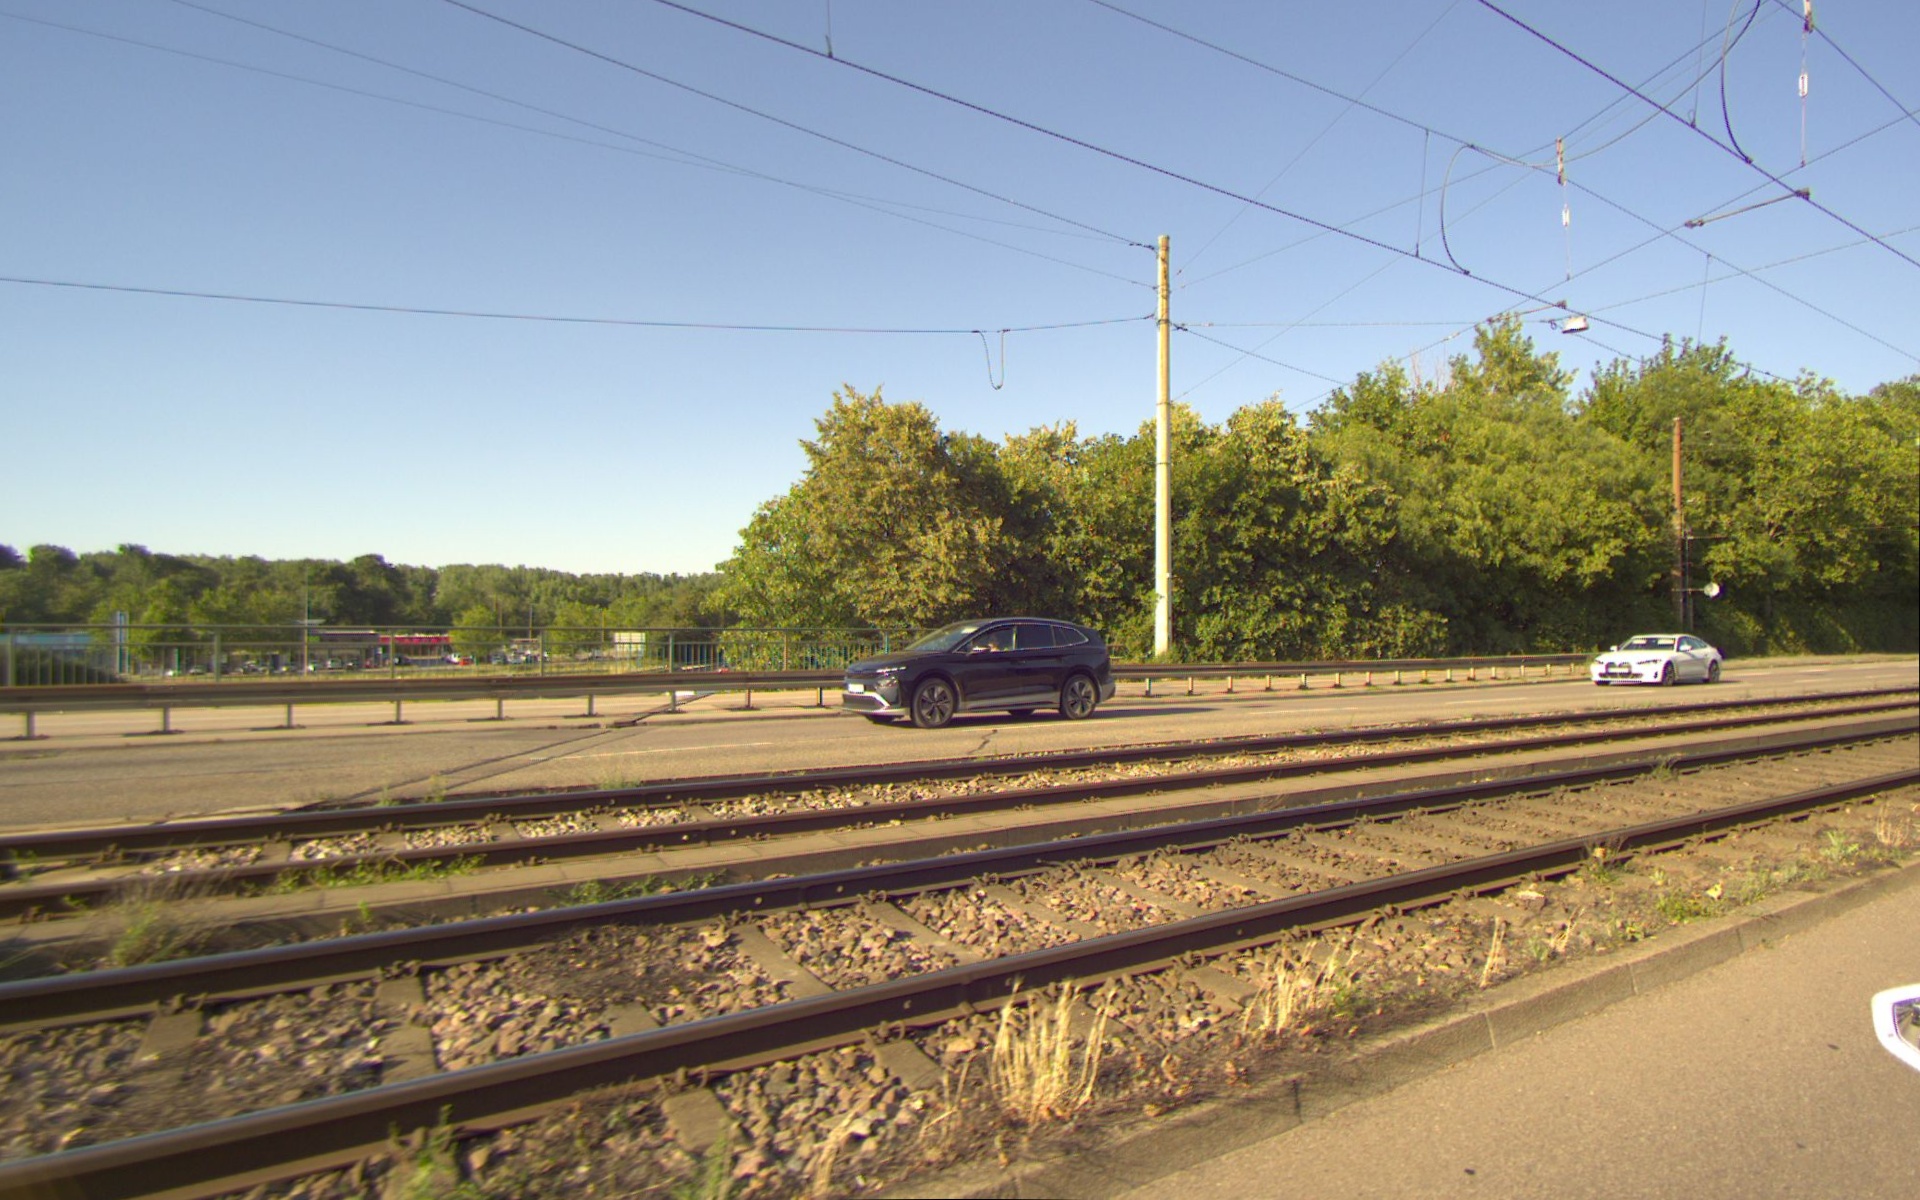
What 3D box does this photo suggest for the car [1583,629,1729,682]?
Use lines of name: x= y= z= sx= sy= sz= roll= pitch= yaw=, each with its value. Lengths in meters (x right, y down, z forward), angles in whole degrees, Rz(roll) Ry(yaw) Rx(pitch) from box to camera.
car: x=20.022 y=1.587 z=28.849 sx=4.826 sy=1.432 sz=1.745 roll=2 pitch=-4 yaw=-33

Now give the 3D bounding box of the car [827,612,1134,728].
car: x=0.420 y=1.051 z=15.914 sx=4.749 sy=1.601 sz=1.699 roll=2 pitch=-2 yaw=-33
